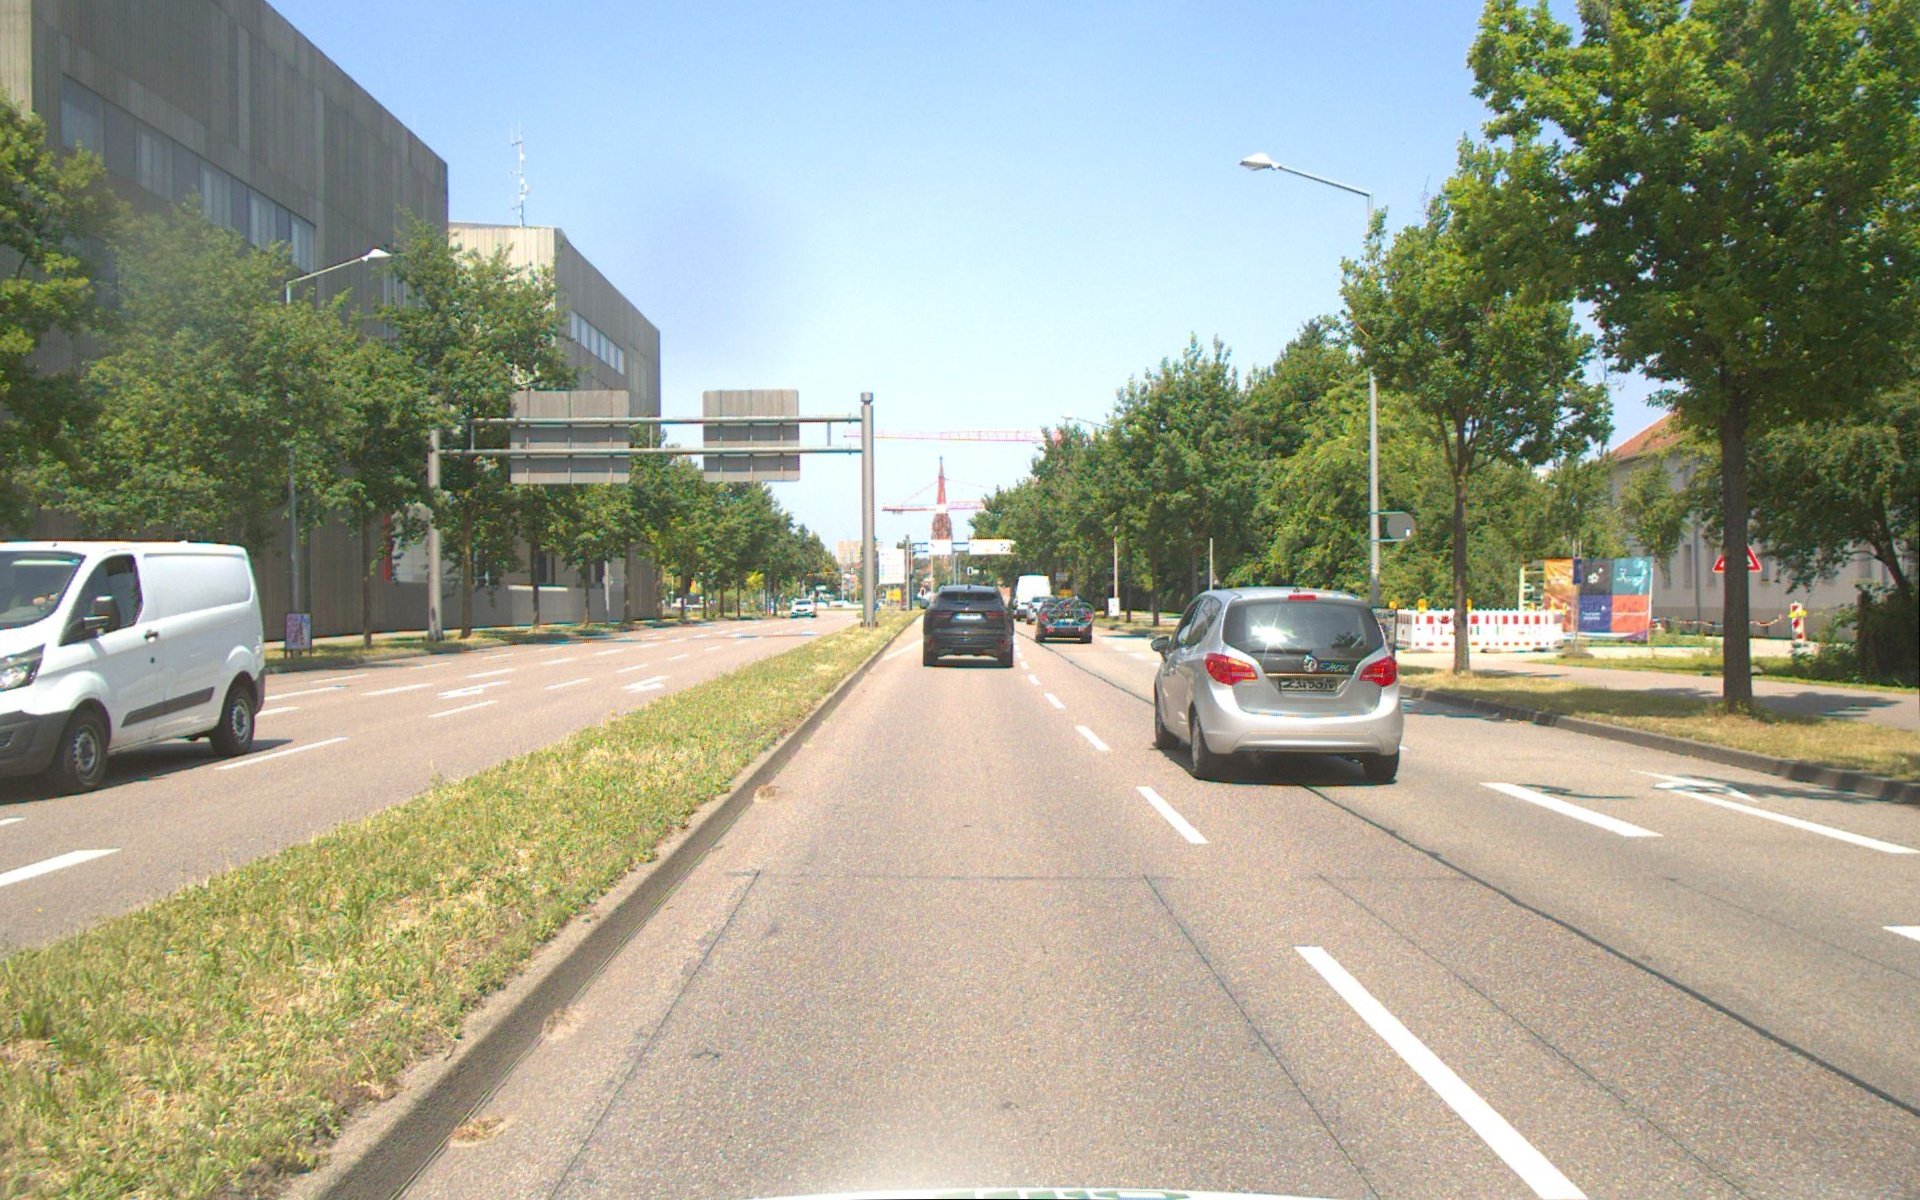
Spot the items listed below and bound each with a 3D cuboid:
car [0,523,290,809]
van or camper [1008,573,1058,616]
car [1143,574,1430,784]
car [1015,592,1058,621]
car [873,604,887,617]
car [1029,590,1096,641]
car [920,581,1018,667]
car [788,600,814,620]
[{"bbox_3d":[-7.666,0.490,14.192,1.871,2.028,4.896,-2,0,-1],"label":"car"},{"bbox_3d":[4.148,-0.294,94.973,2.443,2.331,4.918,-1,0,-3],"label":"van or camper"},{"bbox_3d":[2.796,0.614,15.025,1.756,1.640,3.890,-1,0,-1],"label":"car"},{"bbox_3d":[3.891,0.334,84.624,1.622,1.380,4.456,-1,0,-4],"label":"car"},{"bbox_3d":[-9.926,1.288,206.249,1.673,1.497,3.939,-2,0,-3],"label":"car"},{"bbox_3d":[3.248,0.478,53.086,1.972,1.544,4.461,-1,0,1],"label":"car"},{"bbox_3d":[0.203,0.479,35.404,1.957,1.719,4.034,0,0,1],"label":"car"},{"bbox_3d":[-12.525,0.752,130.575,1.774,1.452,4.356,-2,0,-3],"label":"car"}]
